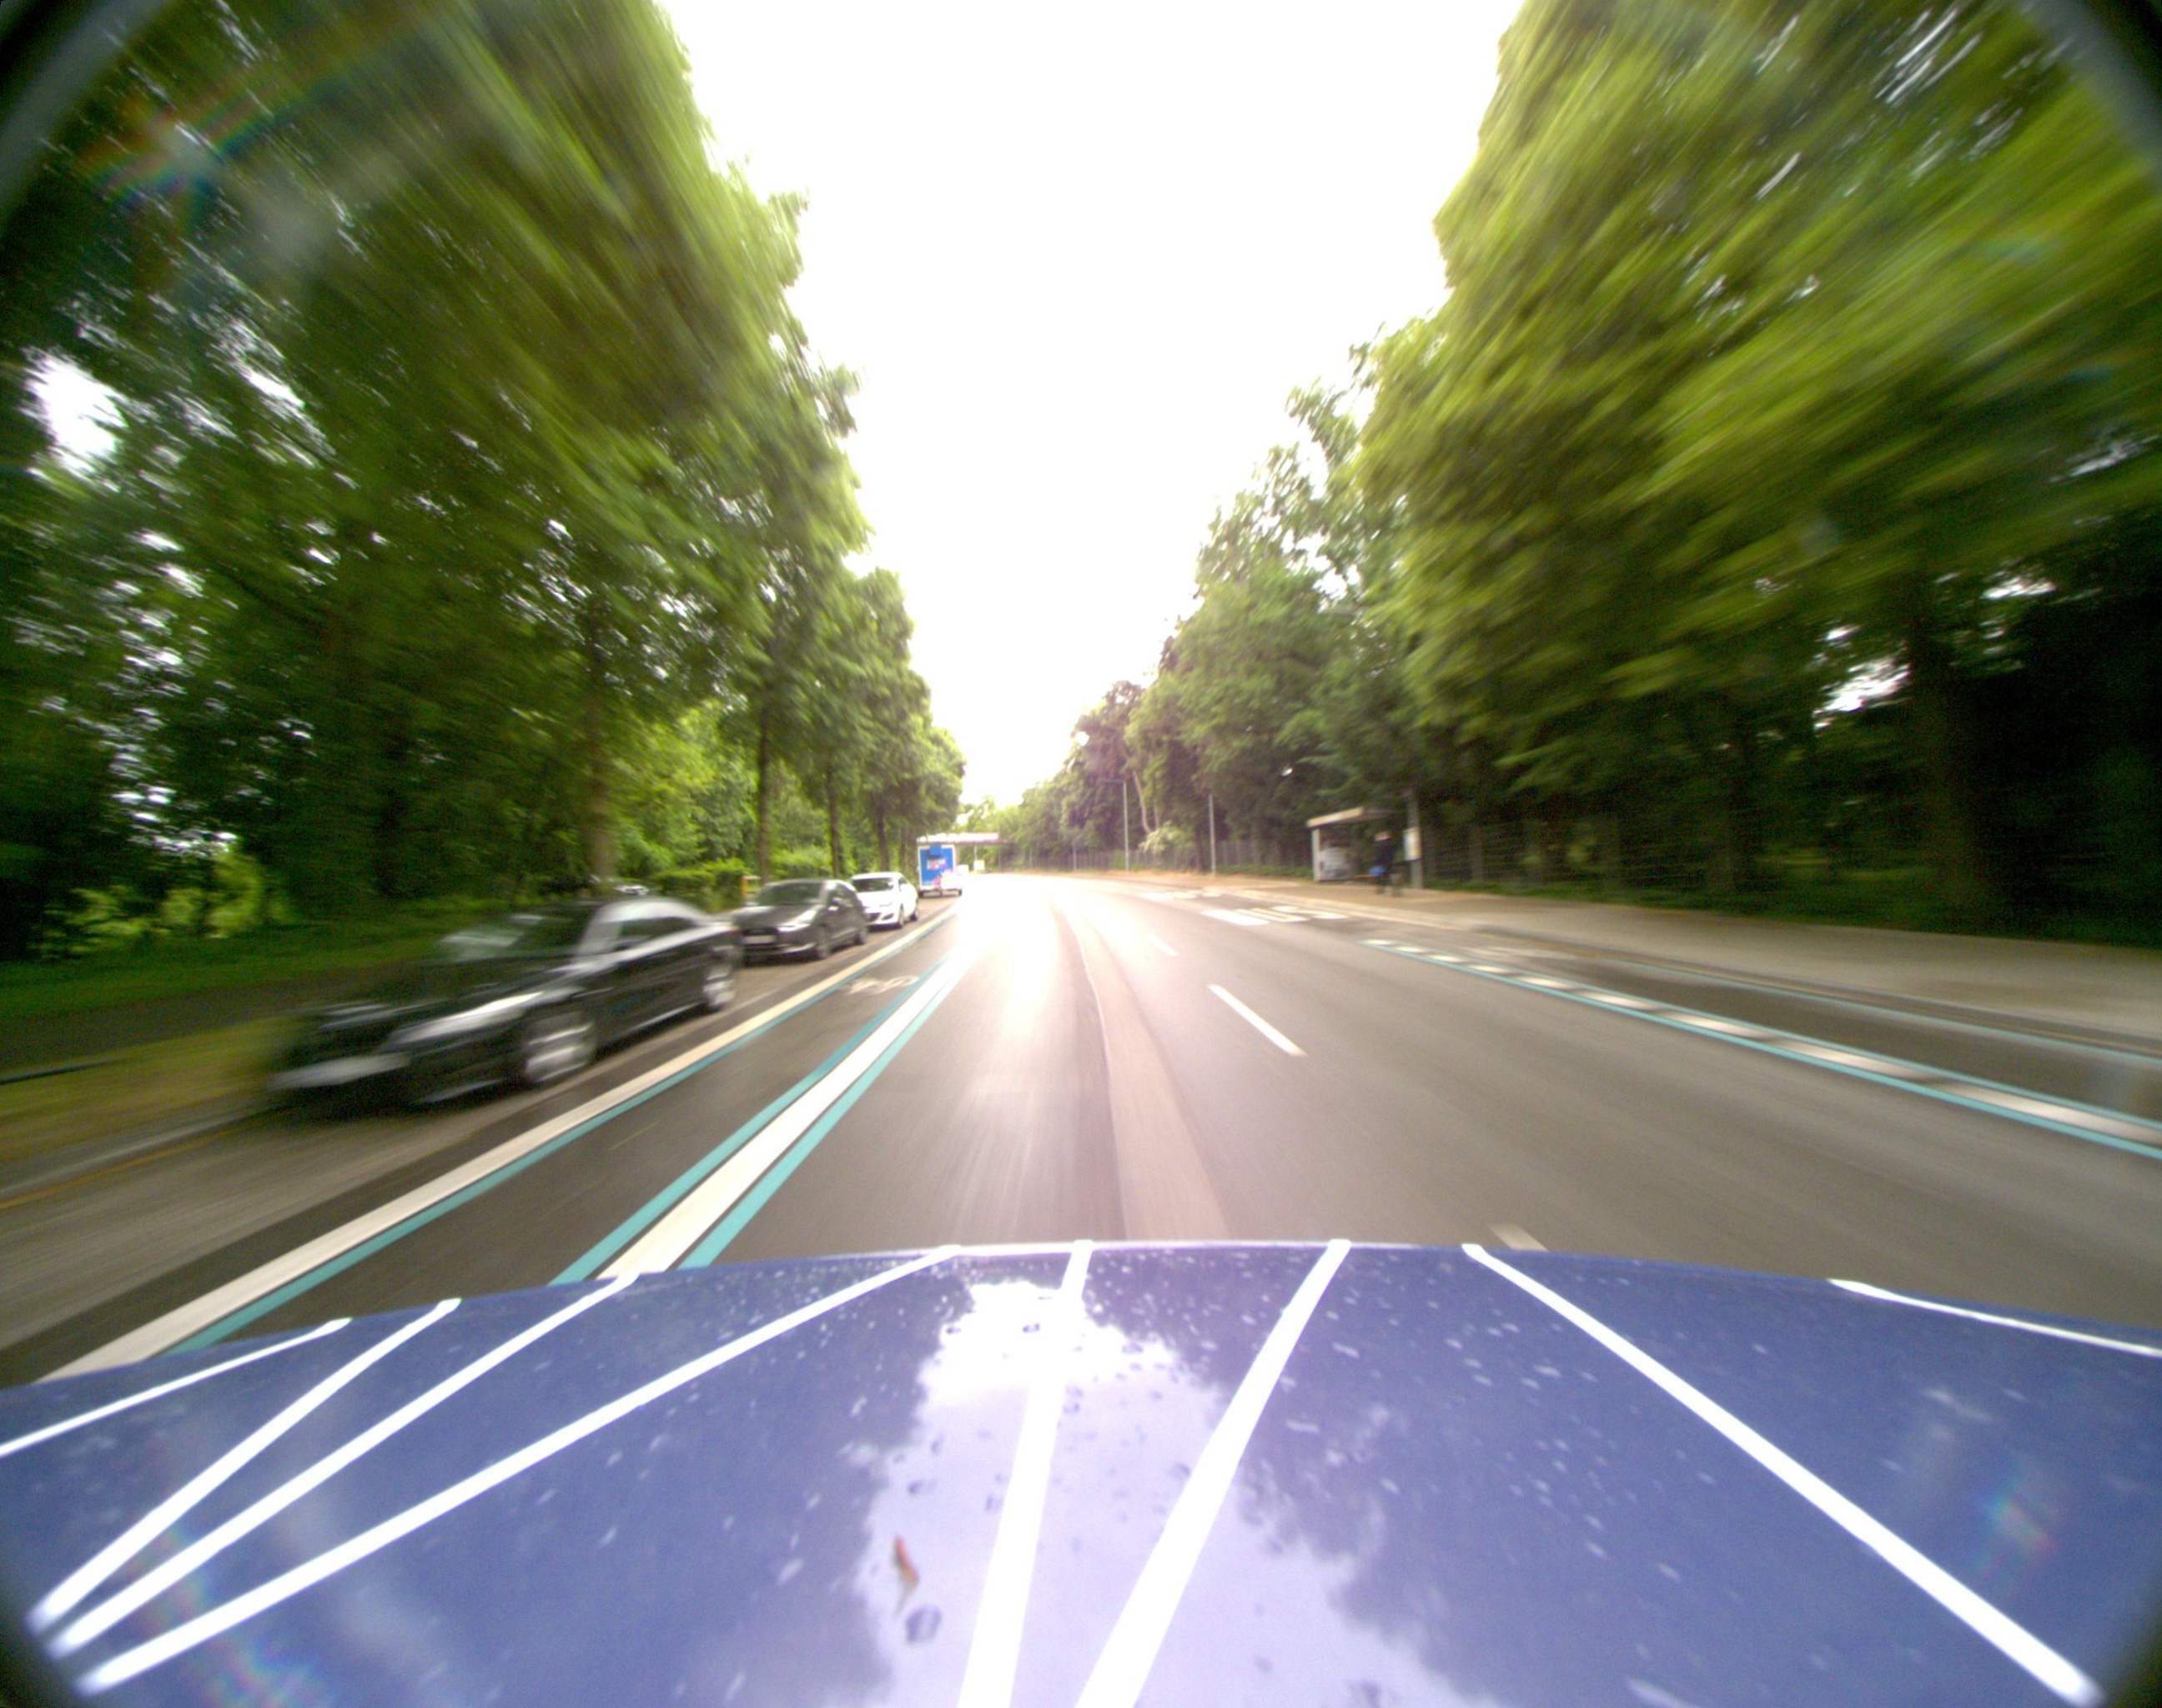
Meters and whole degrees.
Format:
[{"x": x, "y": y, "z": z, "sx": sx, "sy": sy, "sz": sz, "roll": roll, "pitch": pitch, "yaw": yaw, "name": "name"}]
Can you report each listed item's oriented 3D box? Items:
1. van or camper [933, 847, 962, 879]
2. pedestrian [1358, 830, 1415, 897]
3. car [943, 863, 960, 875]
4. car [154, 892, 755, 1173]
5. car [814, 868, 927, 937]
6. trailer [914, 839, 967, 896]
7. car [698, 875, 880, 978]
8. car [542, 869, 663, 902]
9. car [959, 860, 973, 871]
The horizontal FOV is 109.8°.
[{"x": -12.100, "y": 0.827, "z": 68.564, "sx": 2.324, "sy": 2.649, "sz": 6.376, "roll": -3, "pitch": 0, "yaw": -10, "name": "van or camper"}, {"x": 8.219, "y": 0.245, "z": 20.498, "sx": 0.889, "sy": 1.723, "sz": 1.145, "roll": -3, "pitch": 1, "yaw": -7, "name": "pedestrian"}, {"x": -18.206, "y": 2.128, "z": 106.812, "sx": 1.830, "sy": 1.453, "sz": 3.877, "roll": -4, "pitch": -1, "yaw": -18, "name": "car"}, {"x": -5.053, "y": 1.269, "z": 7.311, "sx": 1.786, "sy": 1.399, "sz": 4.844, "roll": -4, "pitch": 1, "yaw": -2, "name": "car"}, {"x": -5.529, "y": 1.216, "z": 20.611, "sx": 1.865, "sy": 1.420, "sz": 4.648, "roll": -4, "pitch": 1, "yaw": -3, "name": "car"}, {"x": -7.276, "y": 0.653, "z": 39.945, "sx": 2.323, "sy": 2.656, "sz": 5.372, "roll": -3, "pitch": 0, "yaw": -8, "name": "trailer"}, {"x": -5.340, "y": 1.244, "z": 14.567, "sx": 1.687, "sy": 1.420, "sz": 4.317, "roll": -4, "pitch": 1, "yaw": 0, "name": "car"}, {"x": -20.953, "y": 1.383, "z": 33.380, "sx": 4.145, "sy": 1.314, "sz": 1.891, "roll": -1, "pitch": 0, "yaw": 4, "name": "car"}, {"x": -22.433, "y": 2.238, "z": 148.267, "sx": 1.986, "sy": 1.902, "sz": 5.222, "roll": -2, "pitch": -2, "yaw": -15, "name": "car"}]
